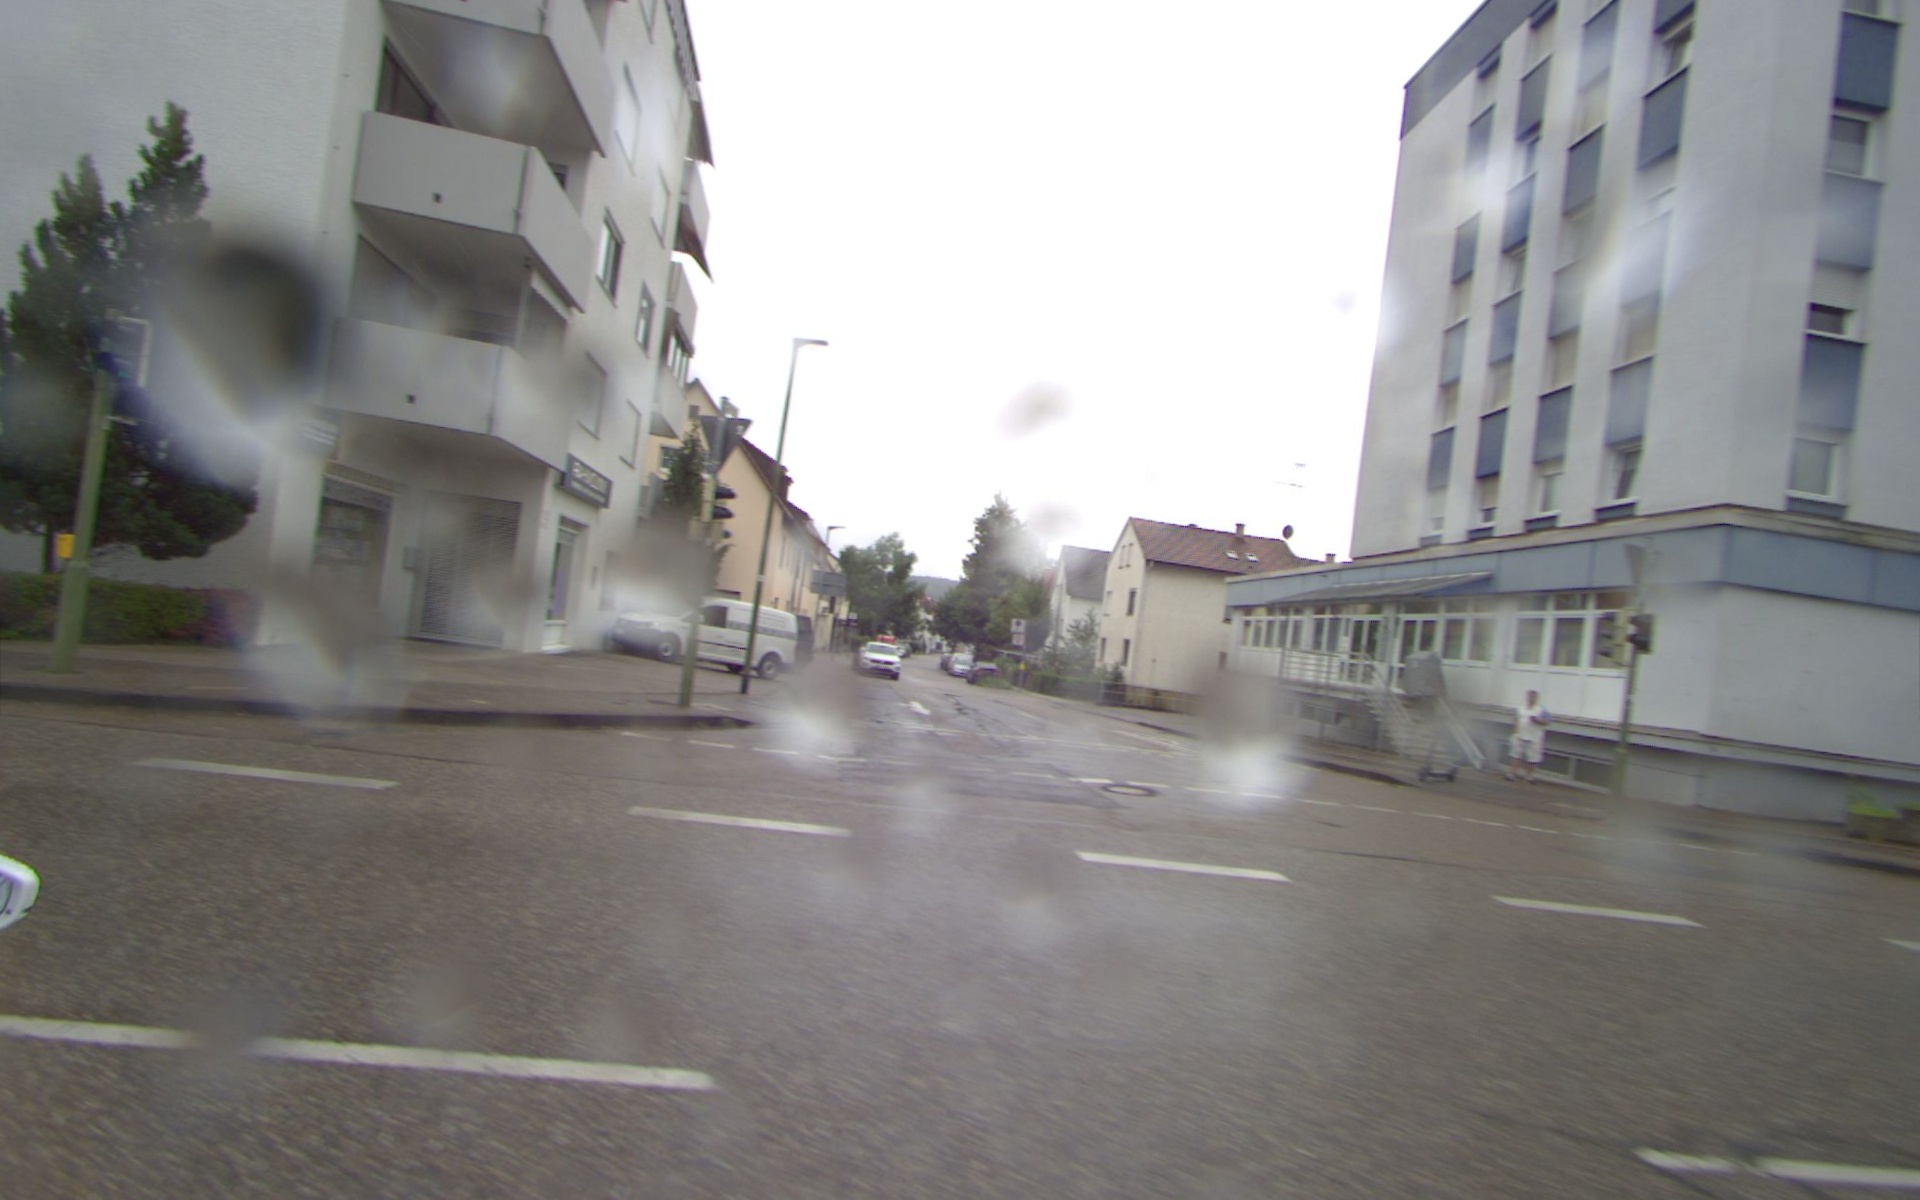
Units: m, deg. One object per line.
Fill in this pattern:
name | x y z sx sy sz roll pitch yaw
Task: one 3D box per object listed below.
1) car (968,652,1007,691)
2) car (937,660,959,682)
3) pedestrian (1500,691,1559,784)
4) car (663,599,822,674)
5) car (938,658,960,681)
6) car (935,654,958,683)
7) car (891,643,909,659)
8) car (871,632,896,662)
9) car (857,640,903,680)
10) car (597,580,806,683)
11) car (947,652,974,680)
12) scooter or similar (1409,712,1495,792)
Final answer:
car | 1.594 4.320 60.406 1.963 2.034 4.009 6 -5 -1
car | -1.211 7.173 102.198 1.963 2.036 4.005 6 -3 -1
pedestrian | 10.863 2.603 19.199 0.645 1.668 0.646 6 -4 -6
car | -6.964 1.220 32.537 1.939 1.910 4.598 3 -4 45
car | -1.065 6.705 97.264 1.963 2.036 4.005 6 -3 -1
car | -1.453 7.467 110.489 2.159 2.836 7.008 6 -3 -1
car | -7.837 6.733 131.633 1.963 1.723 4.010 6 -5 1
car | -8.037 4.939 105.552 2.184 2.799 5.726 6 -3 -6
car | -3.714 2.719 45.953 1.742 1.540 4.000 6 -3 -7
car | -6.385 0.842 25.326 1.751 1.795 4.711 3 -8 45
car | 0.044 5.367 82.331 1.963 2.036 4.005 6 -3 -1
scooter or similar | 8.690 2.675 17.790 1.045 1.240 0.801 7 -5 -15
